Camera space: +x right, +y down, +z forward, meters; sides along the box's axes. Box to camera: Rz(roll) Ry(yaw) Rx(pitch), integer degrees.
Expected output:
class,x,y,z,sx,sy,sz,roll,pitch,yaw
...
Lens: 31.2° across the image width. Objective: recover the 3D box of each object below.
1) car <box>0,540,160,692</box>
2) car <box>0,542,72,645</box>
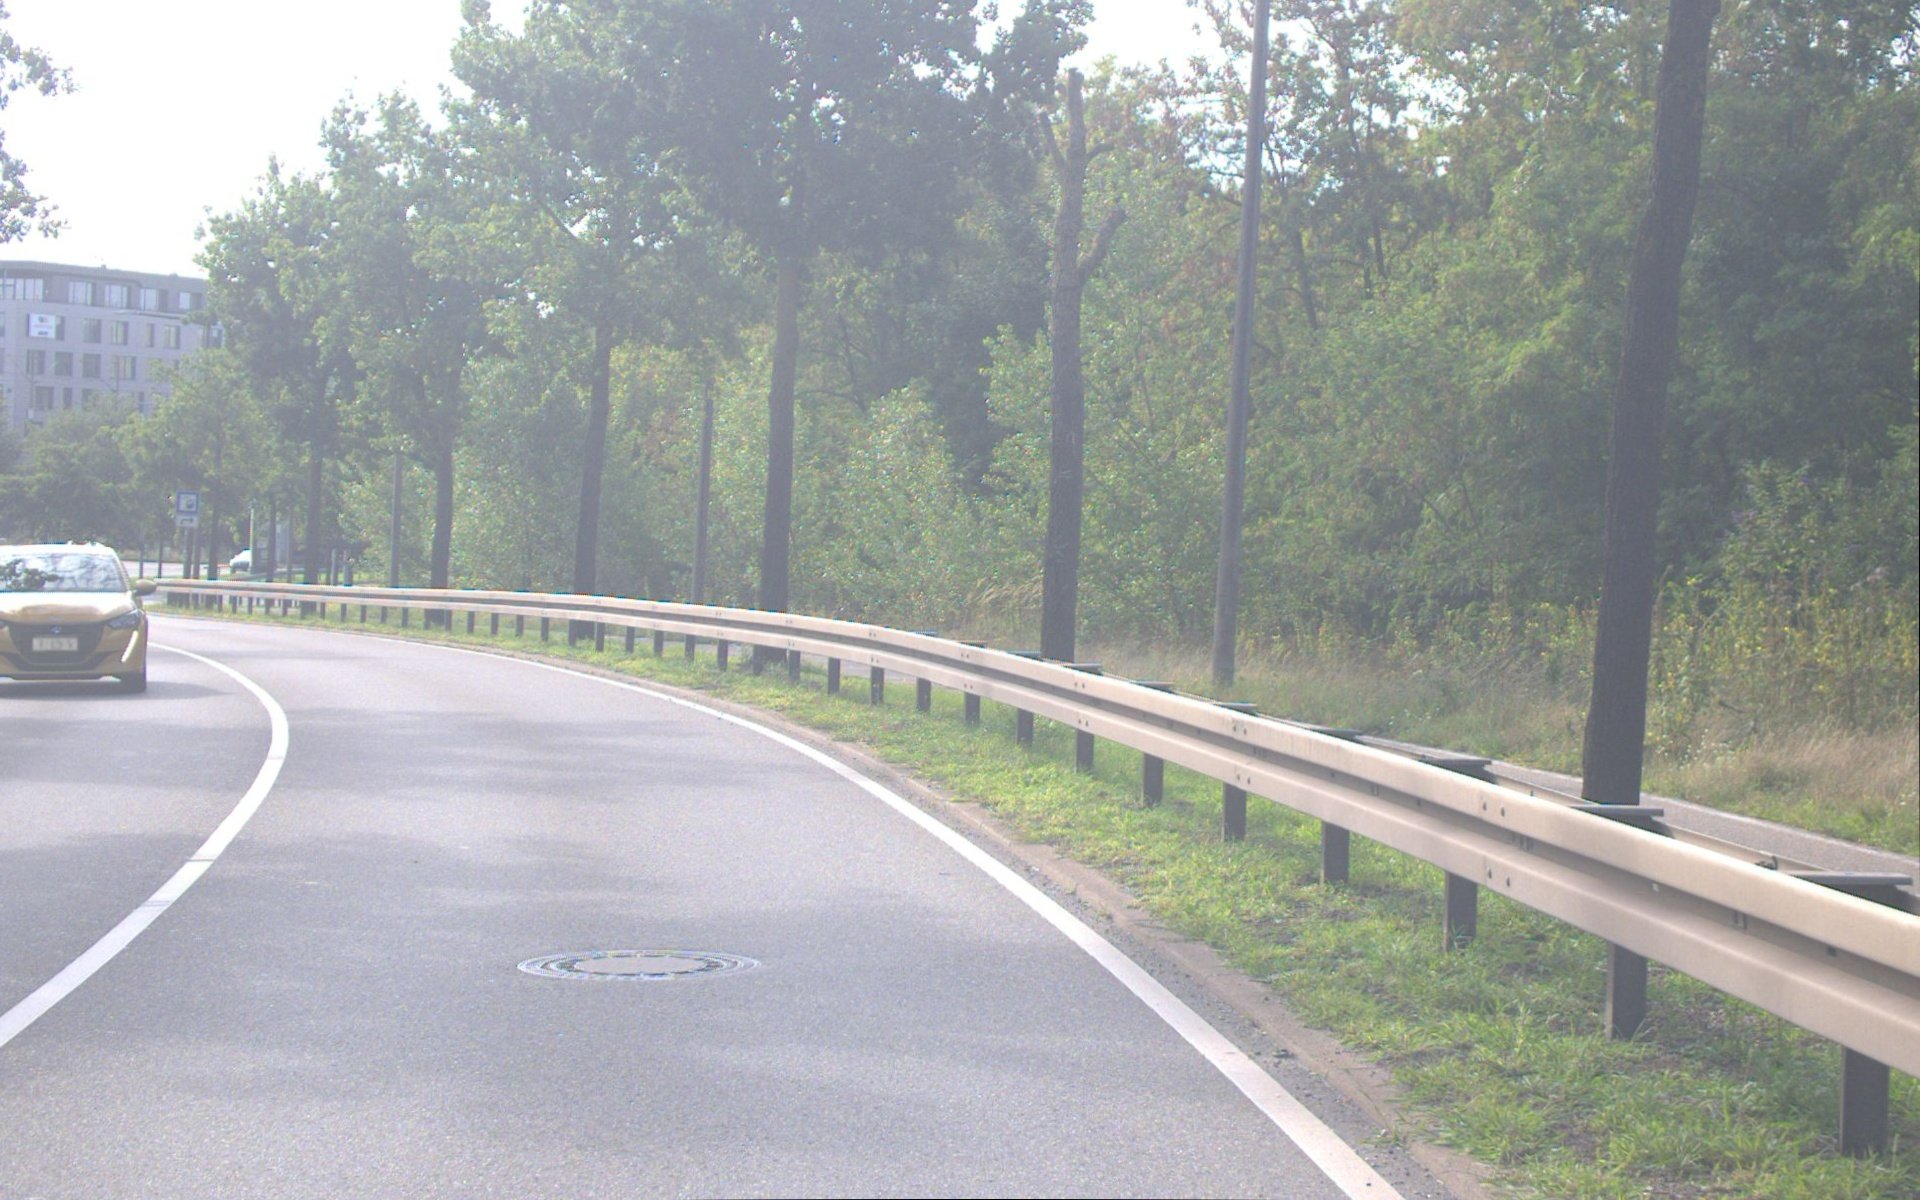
class,x,y,z,sx,sy,sz,roll,pitch,yaw
car,-8.982,0.124,34.412,1.799,1.420,3.873,0,1,-12
car,-13.763,-0.115,49.698,1.567,1.420,3.592,0,1,-18
